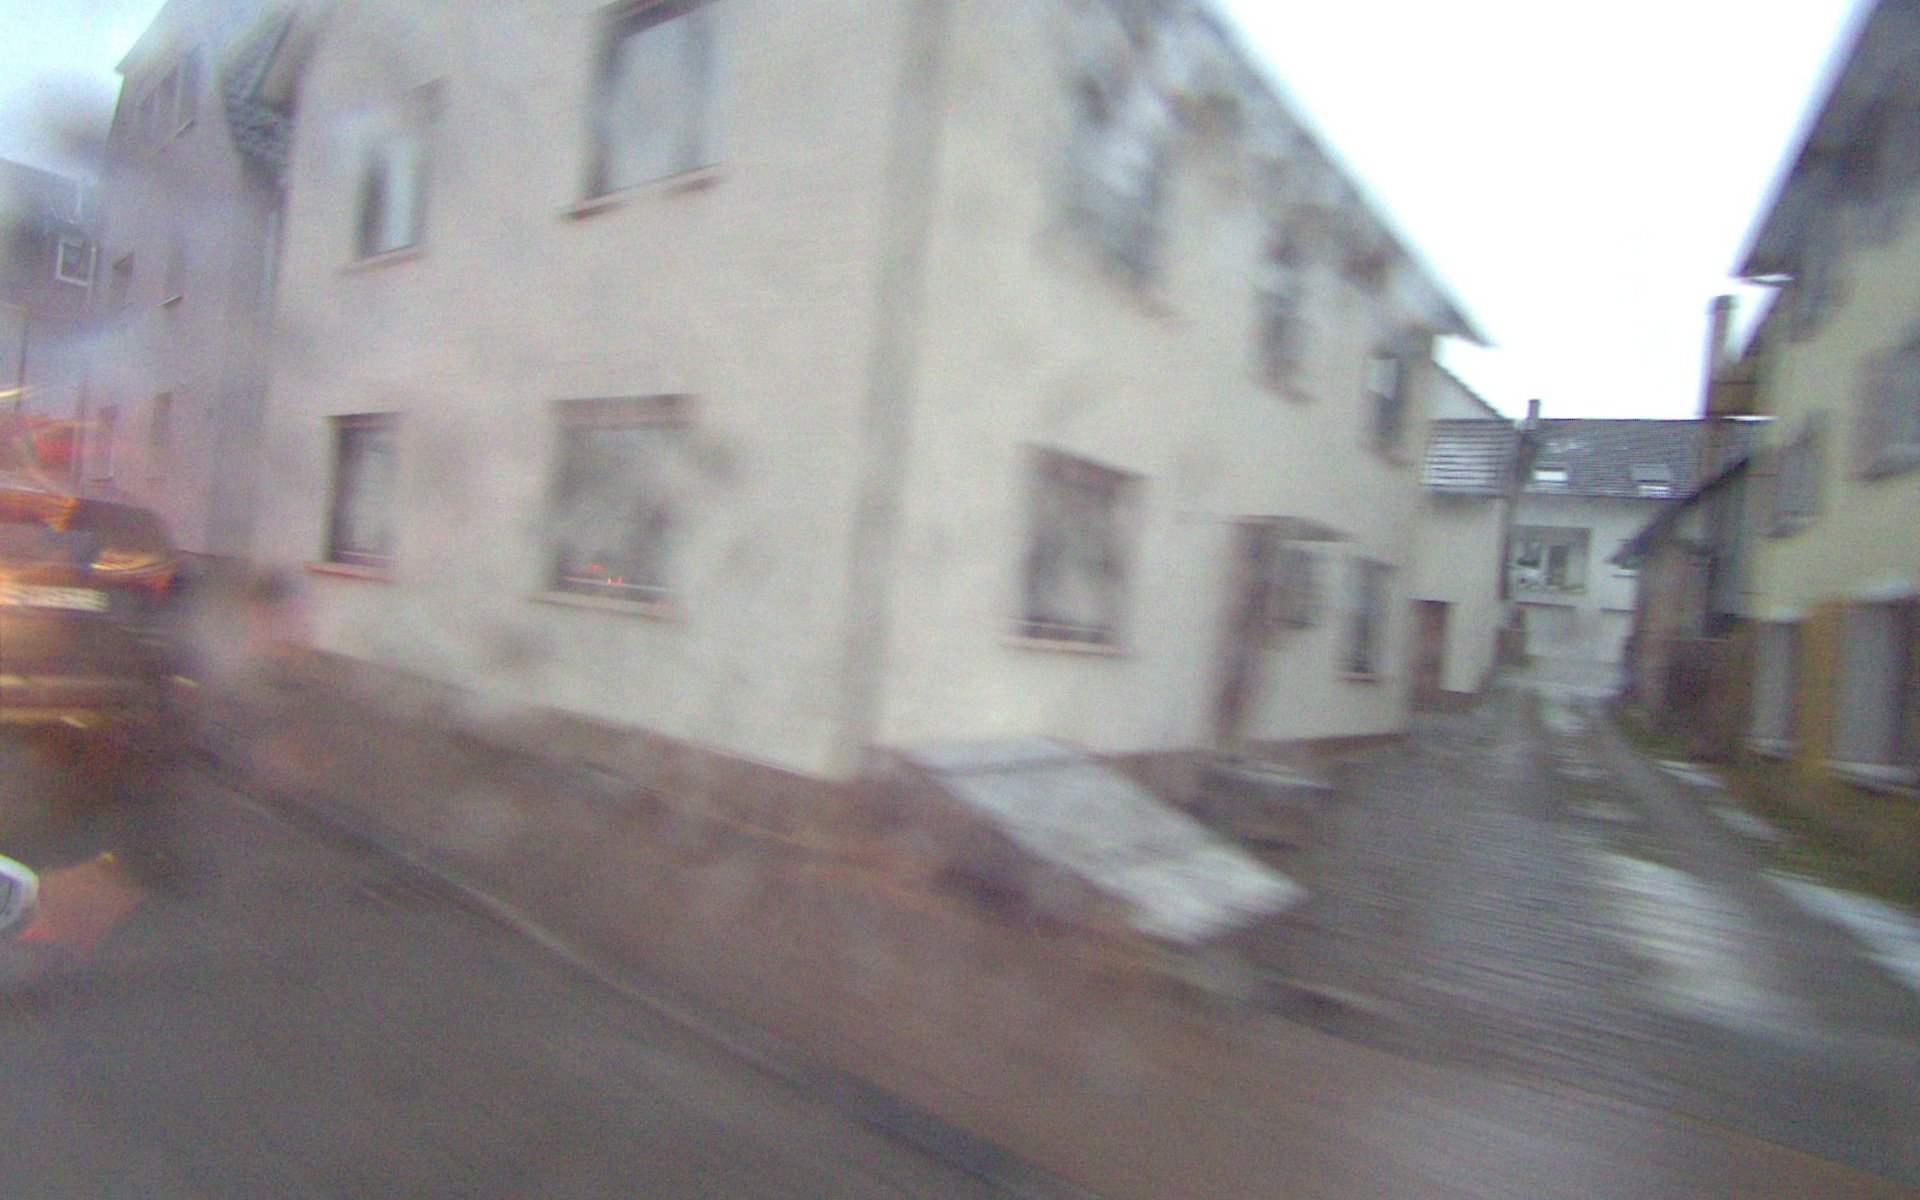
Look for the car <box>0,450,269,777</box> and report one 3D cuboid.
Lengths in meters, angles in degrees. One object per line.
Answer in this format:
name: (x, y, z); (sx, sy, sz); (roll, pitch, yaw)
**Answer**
car: (-6.465, -0.091, 6.526); (4.269, 1.656, 1.848); (6, -1, 36)
